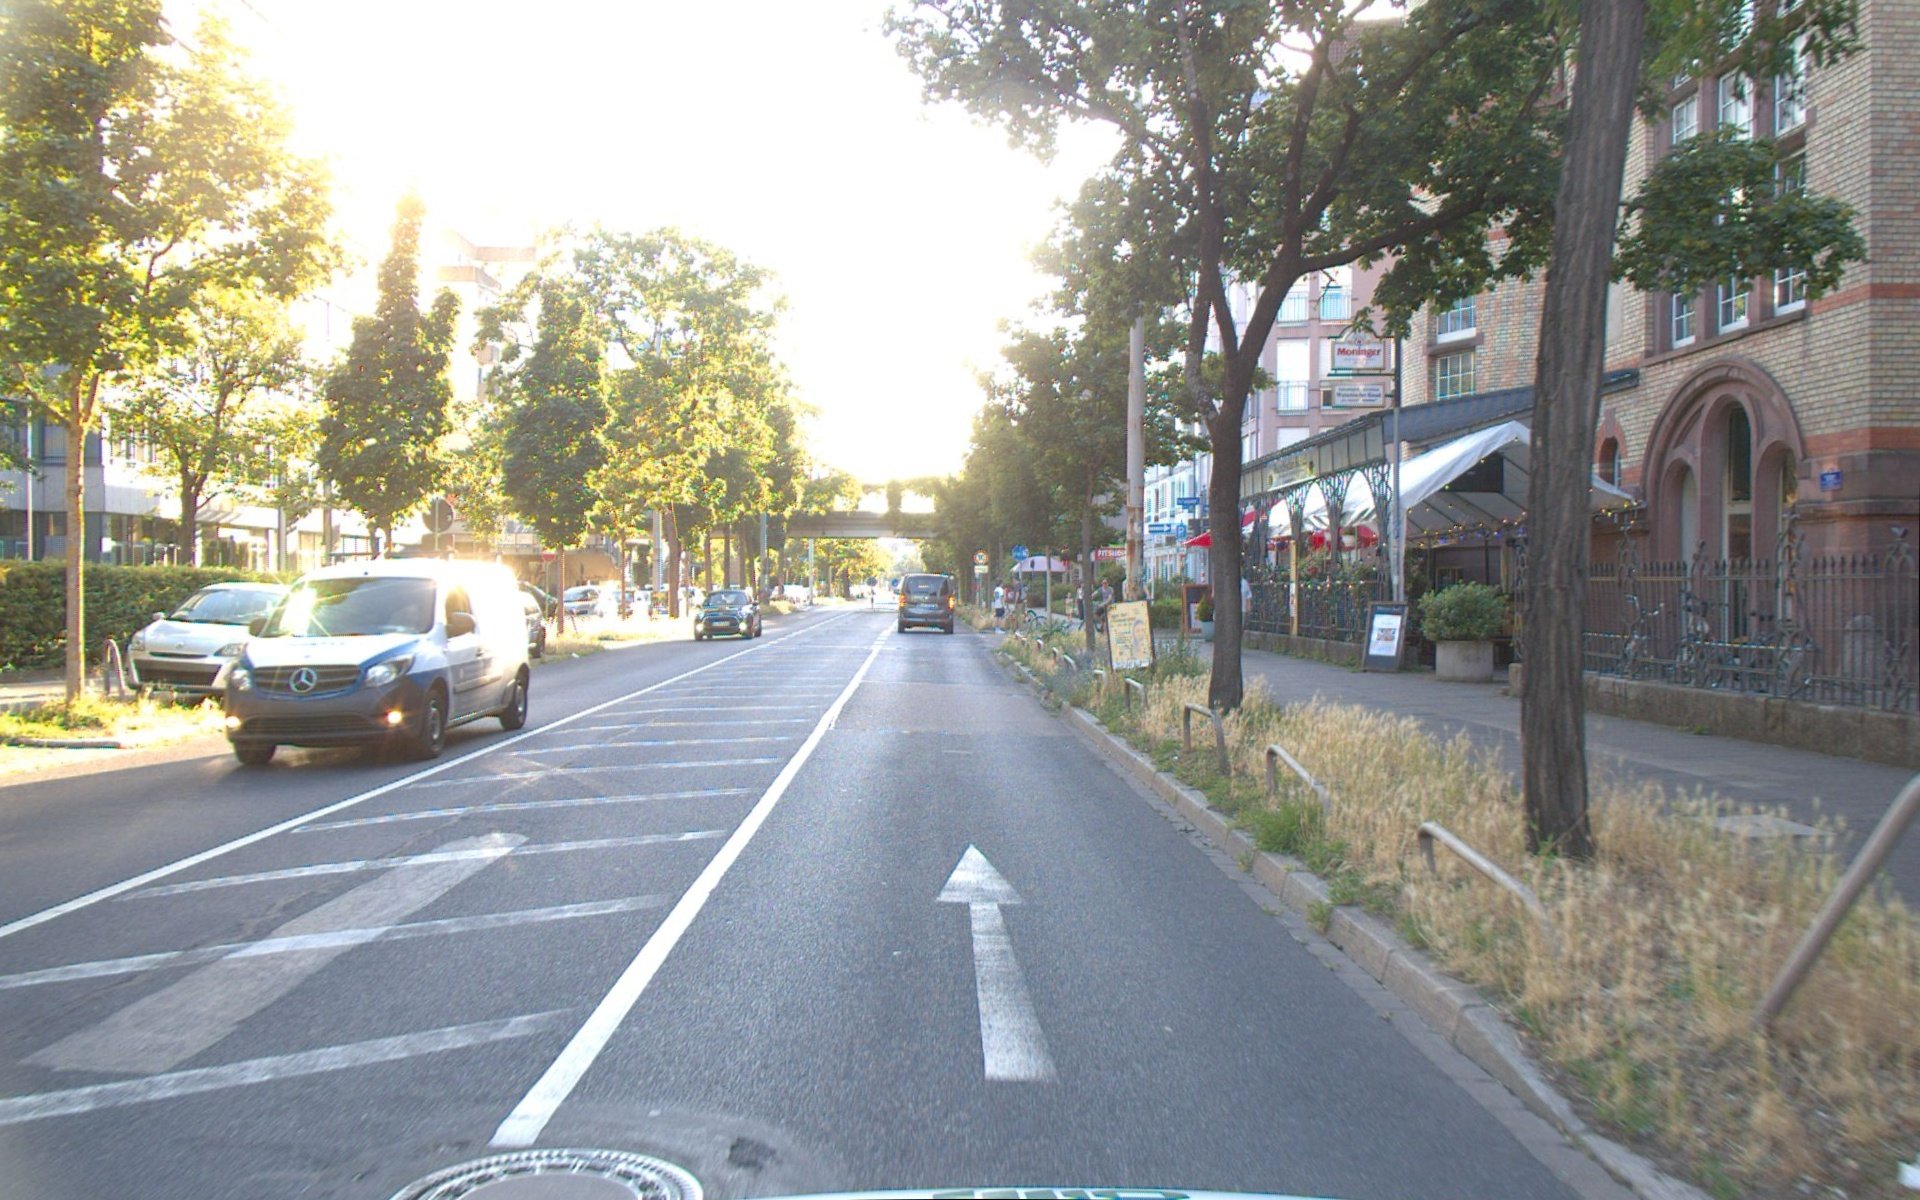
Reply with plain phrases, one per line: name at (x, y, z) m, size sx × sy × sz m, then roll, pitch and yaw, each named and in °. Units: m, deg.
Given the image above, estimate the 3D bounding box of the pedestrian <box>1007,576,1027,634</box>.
pedestrian at (1.921, 0.165, 55.929) m, size 0.496 × 1.921 × 0.543 m, roll 2°, pitch 0°, yaw -16°

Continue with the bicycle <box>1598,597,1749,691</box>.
bicycle at (7.839, 0.476, 18.196) m, size 1.415 × 0.963 × 0.534 m, roll 2°, pitch 0°, yaw -1°

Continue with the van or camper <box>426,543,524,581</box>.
van or camper at (-35.883, -2.777, 122.470) m, size 6.432 × 2.566 × 2.448 m, roll 2°, pitch 0°, yaw -3°

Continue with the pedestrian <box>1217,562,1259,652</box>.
pedestrian at (5.258, 0.130, 31.337) m, size 0.631 × 1.661 × 0.656 m, roll 2°, pitch 0°, yaw -1°

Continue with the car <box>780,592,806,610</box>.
car at (-14.881, 0.085, 147.322) m, size 1.953 × 1.439 × 4.236 m, roll 2°, pitch 0°, yaw -1°

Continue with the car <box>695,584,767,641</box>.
car at (-6.759, 0.341, 49.205) m, size 1.645 × 1.556 × 3.999 m, roll -2°, pitch 0°, yaw -1°

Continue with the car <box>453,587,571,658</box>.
car at (-9.768, 0.452, 36.293) m, size 1.605 × 1.410 × 3.998 m, roll 2°, pitch 0°, yaw -2°

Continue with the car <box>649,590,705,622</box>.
car at (-13.470, 0.275, 78.962) m, size 1.953 × 1.439 × 4.236 m, roll 2°, pitch 0°, yaw -1°

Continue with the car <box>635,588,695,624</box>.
car at (-12.986, 0.241, 72.987) m, size 1.953 × 1.439 × 4.236 m, roll 2°, pitch 0°, yaw -1°

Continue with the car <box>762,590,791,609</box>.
car at (-14.795, -0.033, 133.409) m, size 1.953 × 1.439 × 4.236 m, roll 2°, pitch 0°, yaw -1°

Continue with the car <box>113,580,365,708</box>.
car at (-9.337, 0.514, 21.768) m, size 1.663 × 1.477 × 3.998 m, roll 2°, pitch 0°, yaw -2°

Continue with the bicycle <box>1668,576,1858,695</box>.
bicycle at (8.259, 0.359, 17.036) m, size 1.698 × 1.157 × 0.493 m, roll 2°, pitch 0°, yaw -1°

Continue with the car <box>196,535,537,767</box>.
car at (-5.490, 0.402, 15.957) m, size 1.796 × 1.885 × 4.472 m, roll -1°, pitch 0°, yaw -2°

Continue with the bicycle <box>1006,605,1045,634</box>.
bicycle at (2.241, 0.667, 56.784) m, size 0.580 × 0.913 × 1.975 m, roll 2°, pitch 0°, yaw -21°

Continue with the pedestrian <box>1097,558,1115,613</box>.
pedestrian at (6.992, -0.687, 79.037) m, size 0.701 × 2.583 × 0.824 m, roll 2°, pitch 0°, yaw -1°

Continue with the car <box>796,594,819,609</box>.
car at (-15.267, 0.130, 165.429) m, size 1.953 × 1.439 × 4.236 m, roll 2°, pitch 0°, yaw -1°

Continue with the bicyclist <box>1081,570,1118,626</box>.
bicyclist at (4.002, -0.055, 47.505) m, size 0.917 × 1.585 × 0.545 m, roll 2°, pitch 0°, yaw -7°

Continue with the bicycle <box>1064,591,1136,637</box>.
bicycle at (4.018, 0.411, 47.510) m, size 1.943 × 1.248 × 0.547 m, roll 2°, pitch 0°, yaw -8°

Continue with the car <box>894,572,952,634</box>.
car at (-1.216, 0.078, 54.982) m, size 1.849 × 1.958 × 3.839 m, roll -1°, pitch 1°, yaw -1°

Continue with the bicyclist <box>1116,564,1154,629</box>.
bicyclist at (3.461, -0.072, 32.719) m, size 0.573 × 1.258 × 1.111 m, roll 2°, pitch 0°, yaw -2°

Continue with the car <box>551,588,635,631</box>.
car at (-12.283, 0.280, 55.641) m, size 1.953 × 1.333 × 4.065 m, roll 2°, pitch 0°, yaw -1°

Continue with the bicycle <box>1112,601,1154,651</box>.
bicycle at (3.417, 0.498, 32.763) m, size 0.567 × 0.913 × 1.987 m, roll 2°, pitch 0°, yaw -1°

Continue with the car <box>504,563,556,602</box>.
car at (-27.252, -1.086, 105.045) m, size 1.953 × 2.348 × 5.244 m, roll 2°, pitch 0°, yaw -1°

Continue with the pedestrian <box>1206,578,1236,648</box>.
pedestrian at (5.194, 0.261, 32.935) m, size 0.457 × 1.374 × 0.530 m, roll 2°, pitch 0°, yaw -1°

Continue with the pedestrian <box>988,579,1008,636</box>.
pedestrian at (1.306, 0.244, 56.336) m, size 0.496 × 1.921 × 0.543 m, roll 2°, pitch 0°, yaw -16°

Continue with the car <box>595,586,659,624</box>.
car at (-12.554, 0.169, 62.548) m, size 1.637 × 1.337 × 3.964 m, roll 2°, pitch 0°, yaw -1°
